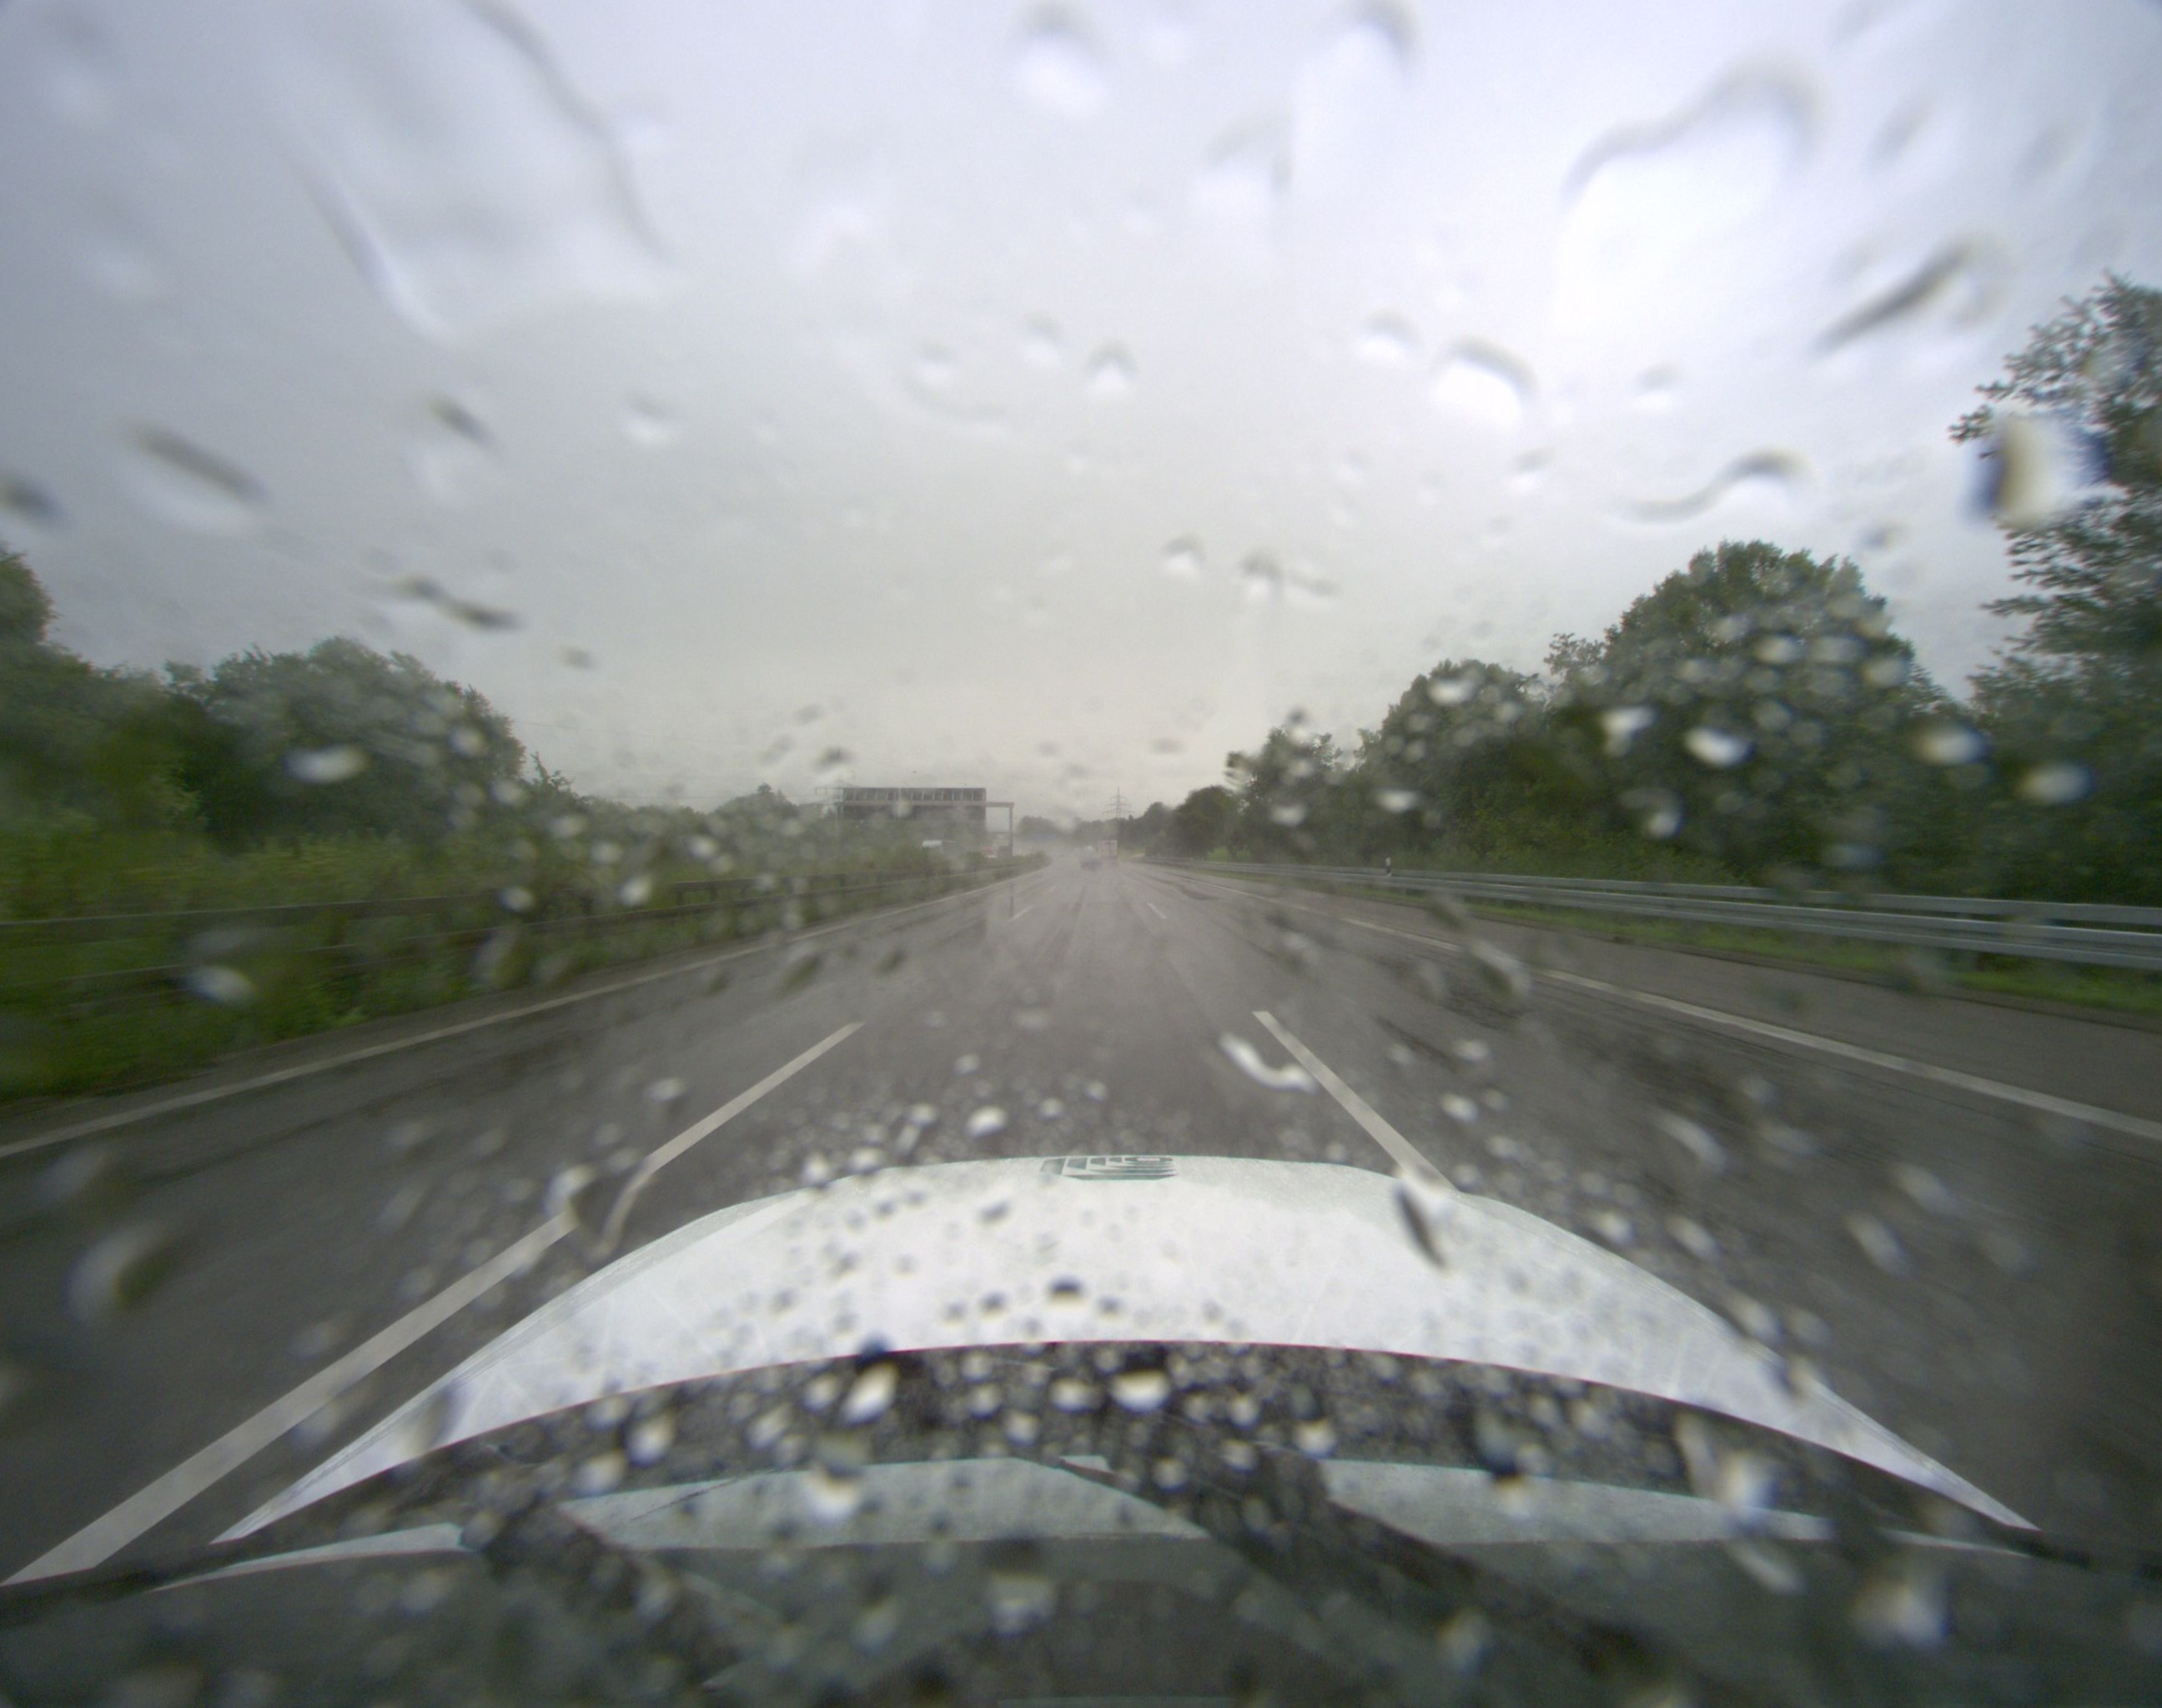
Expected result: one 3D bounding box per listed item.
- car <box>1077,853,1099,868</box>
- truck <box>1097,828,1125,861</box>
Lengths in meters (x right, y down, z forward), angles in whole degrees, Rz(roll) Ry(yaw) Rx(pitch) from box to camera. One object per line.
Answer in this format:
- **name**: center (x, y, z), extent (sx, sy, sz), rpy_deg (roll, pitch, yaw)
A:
- **car**: center (0.652, 0.522, 70.641), extent (1.742, 1.212, 4.002), rpy_deg (2, 0, 2)
- **truck**: center (4.853, -1.573, 133.578), extent (4.241, 4.972, 17.347), rpy_deg (-2, 1, 2)
